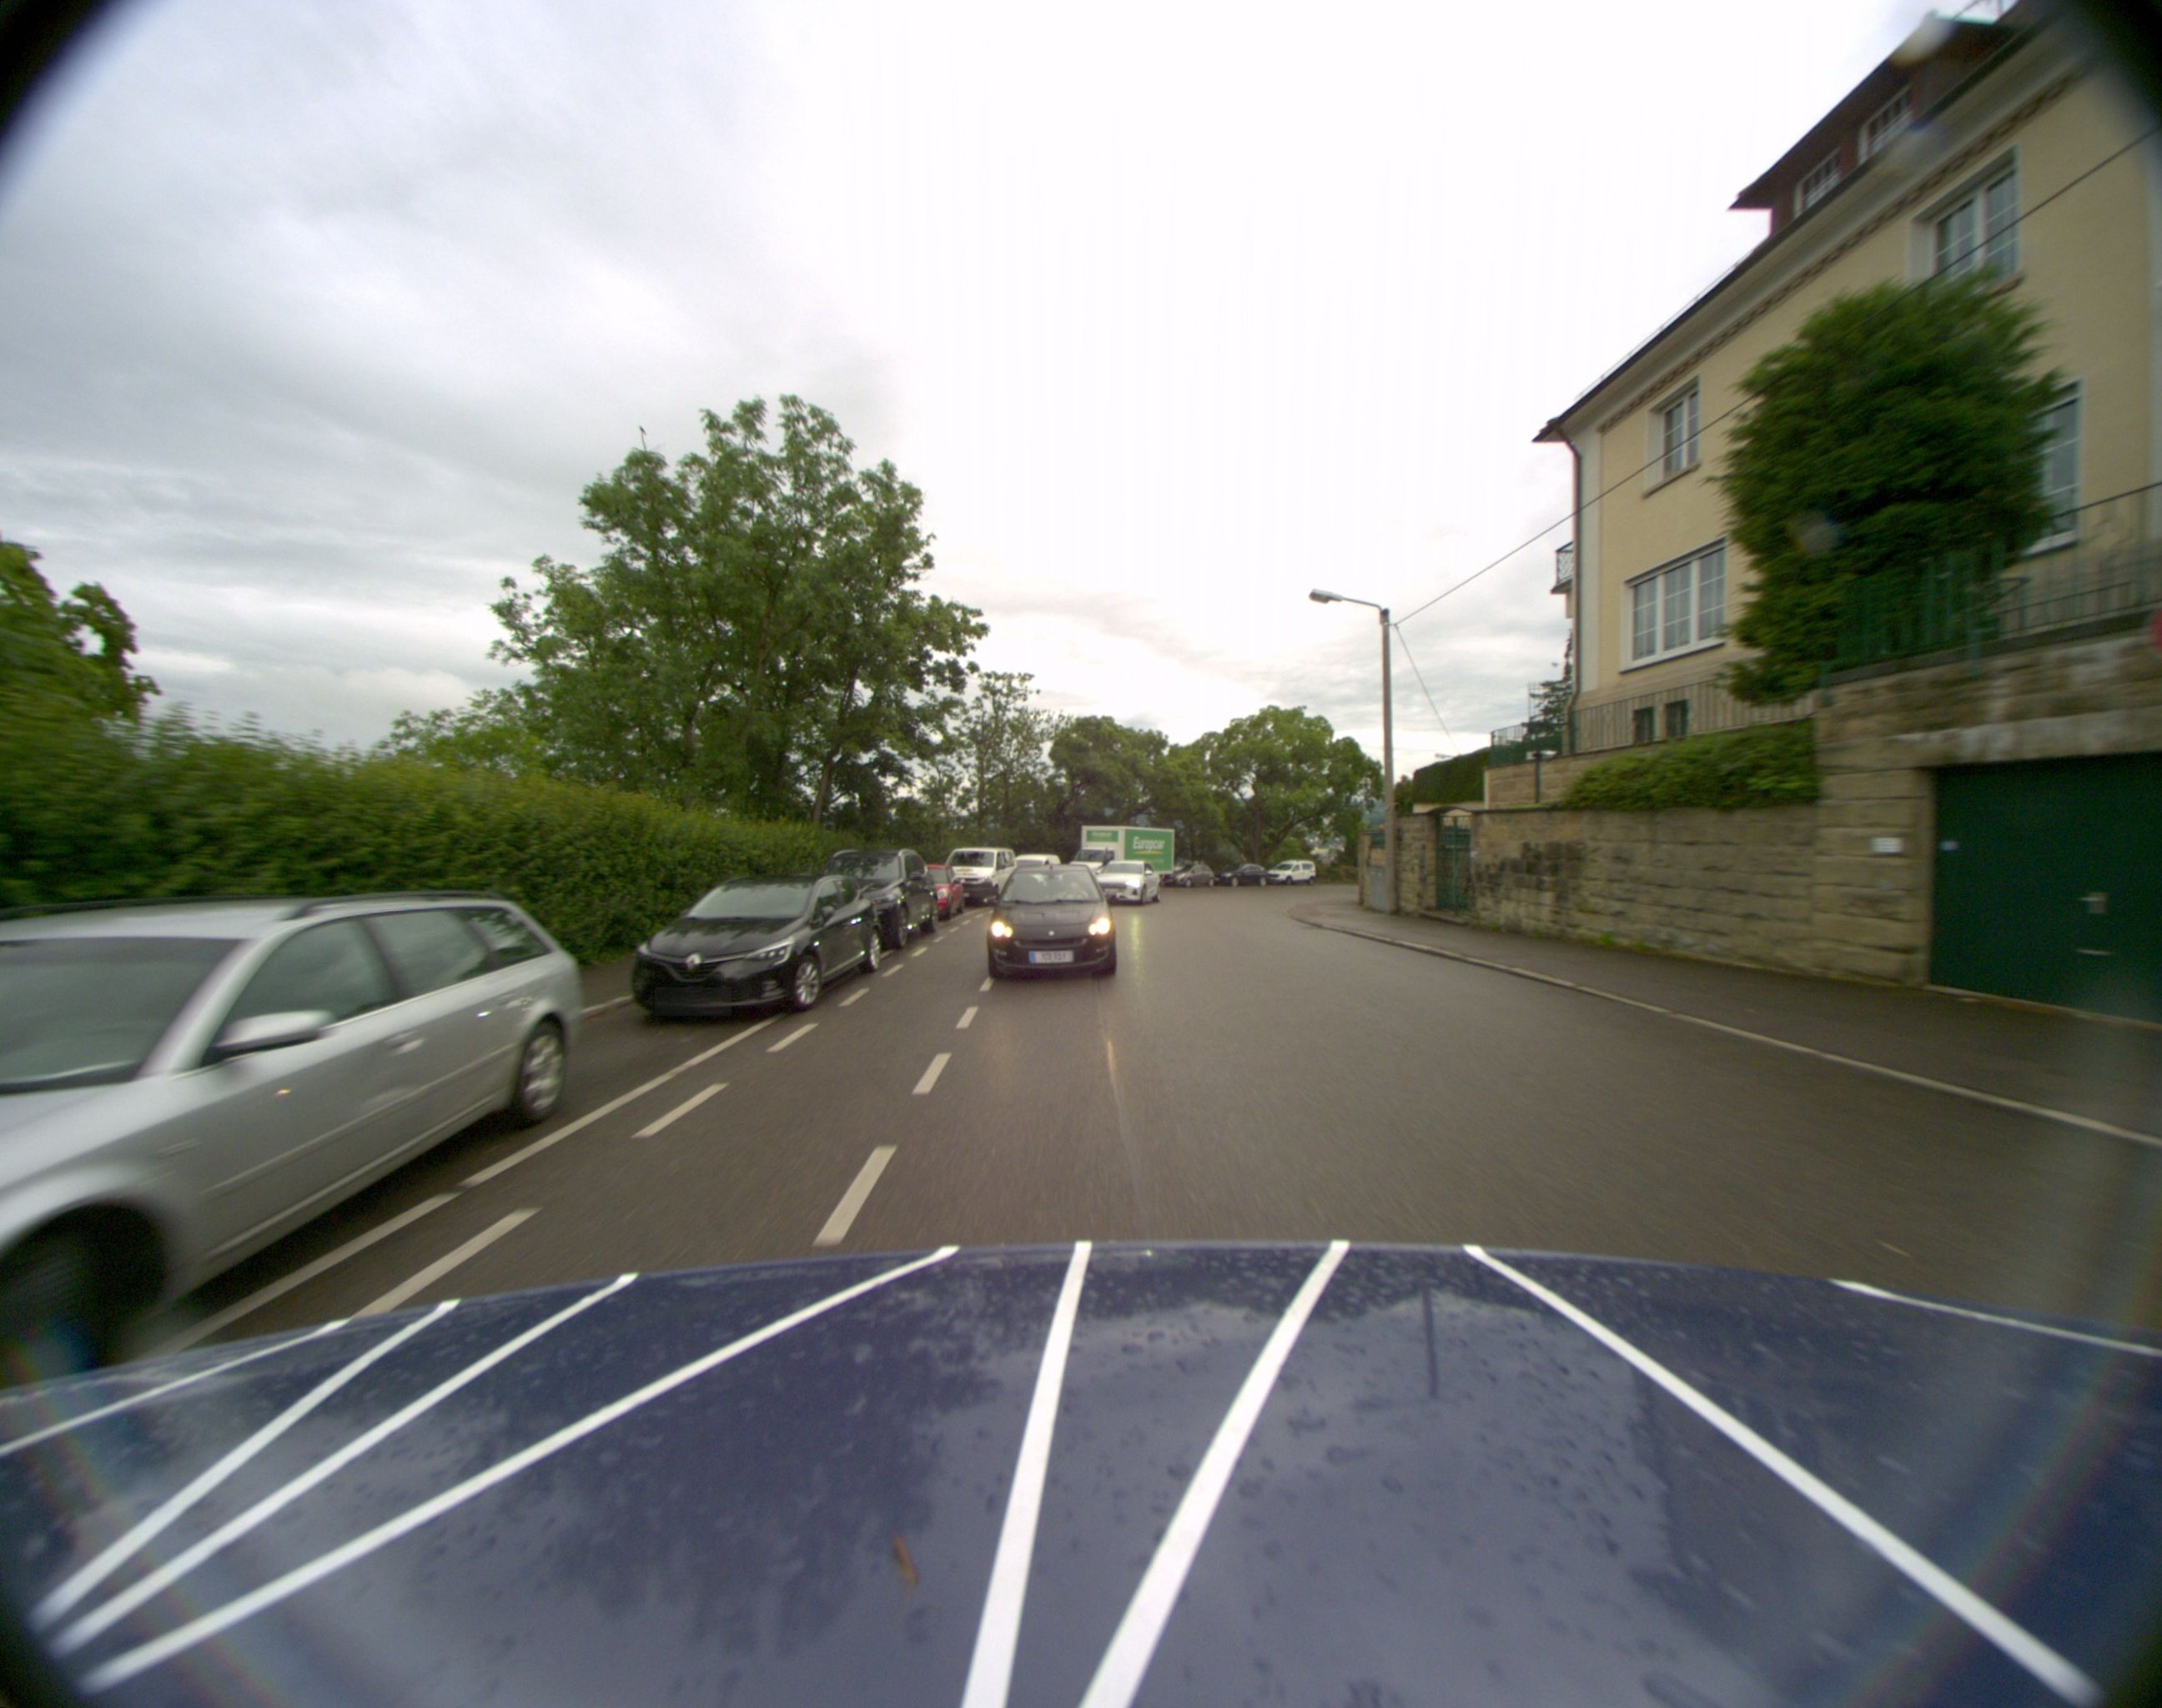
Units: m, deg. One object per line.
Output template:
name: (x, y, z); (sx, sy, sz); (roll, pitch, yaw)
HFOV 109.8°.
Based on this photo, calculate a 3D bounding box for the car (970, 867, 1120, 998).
car: (-0.489, 0.985, 11.366); (1.784, 1.477, 4.405); (1, 0, -2)

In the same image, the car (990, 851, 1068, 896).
car: (-2.116, 0.805, 32.413); (1.862, 1.760, 4.385); (-1, -1, 17)

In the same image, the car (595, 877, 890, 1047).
car: (-3.699, 1.081, 9.168); (1.692, 1.414, 3.983); (-1, 1, 1)

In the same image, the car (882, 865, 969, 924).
car: (-4.130, 1.023, 20.738); (1.675, 1.405, 3.741); (-1, 0, -2)

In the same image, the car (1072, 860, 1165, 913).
car: (1.533, 1.134, 28.256); (2.188, 1.698, 4.889); (-2, 0, 18)

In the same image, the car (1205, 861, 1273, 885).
car: (10.873, 1.306, 52.059); (4.905, 1.533, 1.860); (1, 0, -40)

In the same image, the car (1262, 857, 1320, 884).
car: (15.345, 1.217, 55.485); (4.433, 1.811, 1.747); (1, 1, -39)

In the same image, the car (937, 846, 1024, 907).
car: (-3.420, 0.731, 26.722); (1.863, 1.936, 4.810); (0, 0, 7)

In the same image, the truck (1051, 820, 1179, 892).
truck: (2.115, 0.099, 41.473); (2.774, 3.451, 8.952); (2, 1, 32)

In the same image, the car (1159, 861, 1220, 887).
car: (6.897, 1.246, 48.037); (1.734, 1.494, 4.145); (2, 1, 43)

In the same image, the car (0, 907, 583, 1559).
car: (-3.886, 1.094, 2.879); (1.805, 1.432, 4.637); (-2, 0, -13)

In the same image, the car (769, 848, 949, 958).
car: (-4.071, 0.818, 14.922); (2.032, 1.772, 4.899); (-1, 0, 0)
